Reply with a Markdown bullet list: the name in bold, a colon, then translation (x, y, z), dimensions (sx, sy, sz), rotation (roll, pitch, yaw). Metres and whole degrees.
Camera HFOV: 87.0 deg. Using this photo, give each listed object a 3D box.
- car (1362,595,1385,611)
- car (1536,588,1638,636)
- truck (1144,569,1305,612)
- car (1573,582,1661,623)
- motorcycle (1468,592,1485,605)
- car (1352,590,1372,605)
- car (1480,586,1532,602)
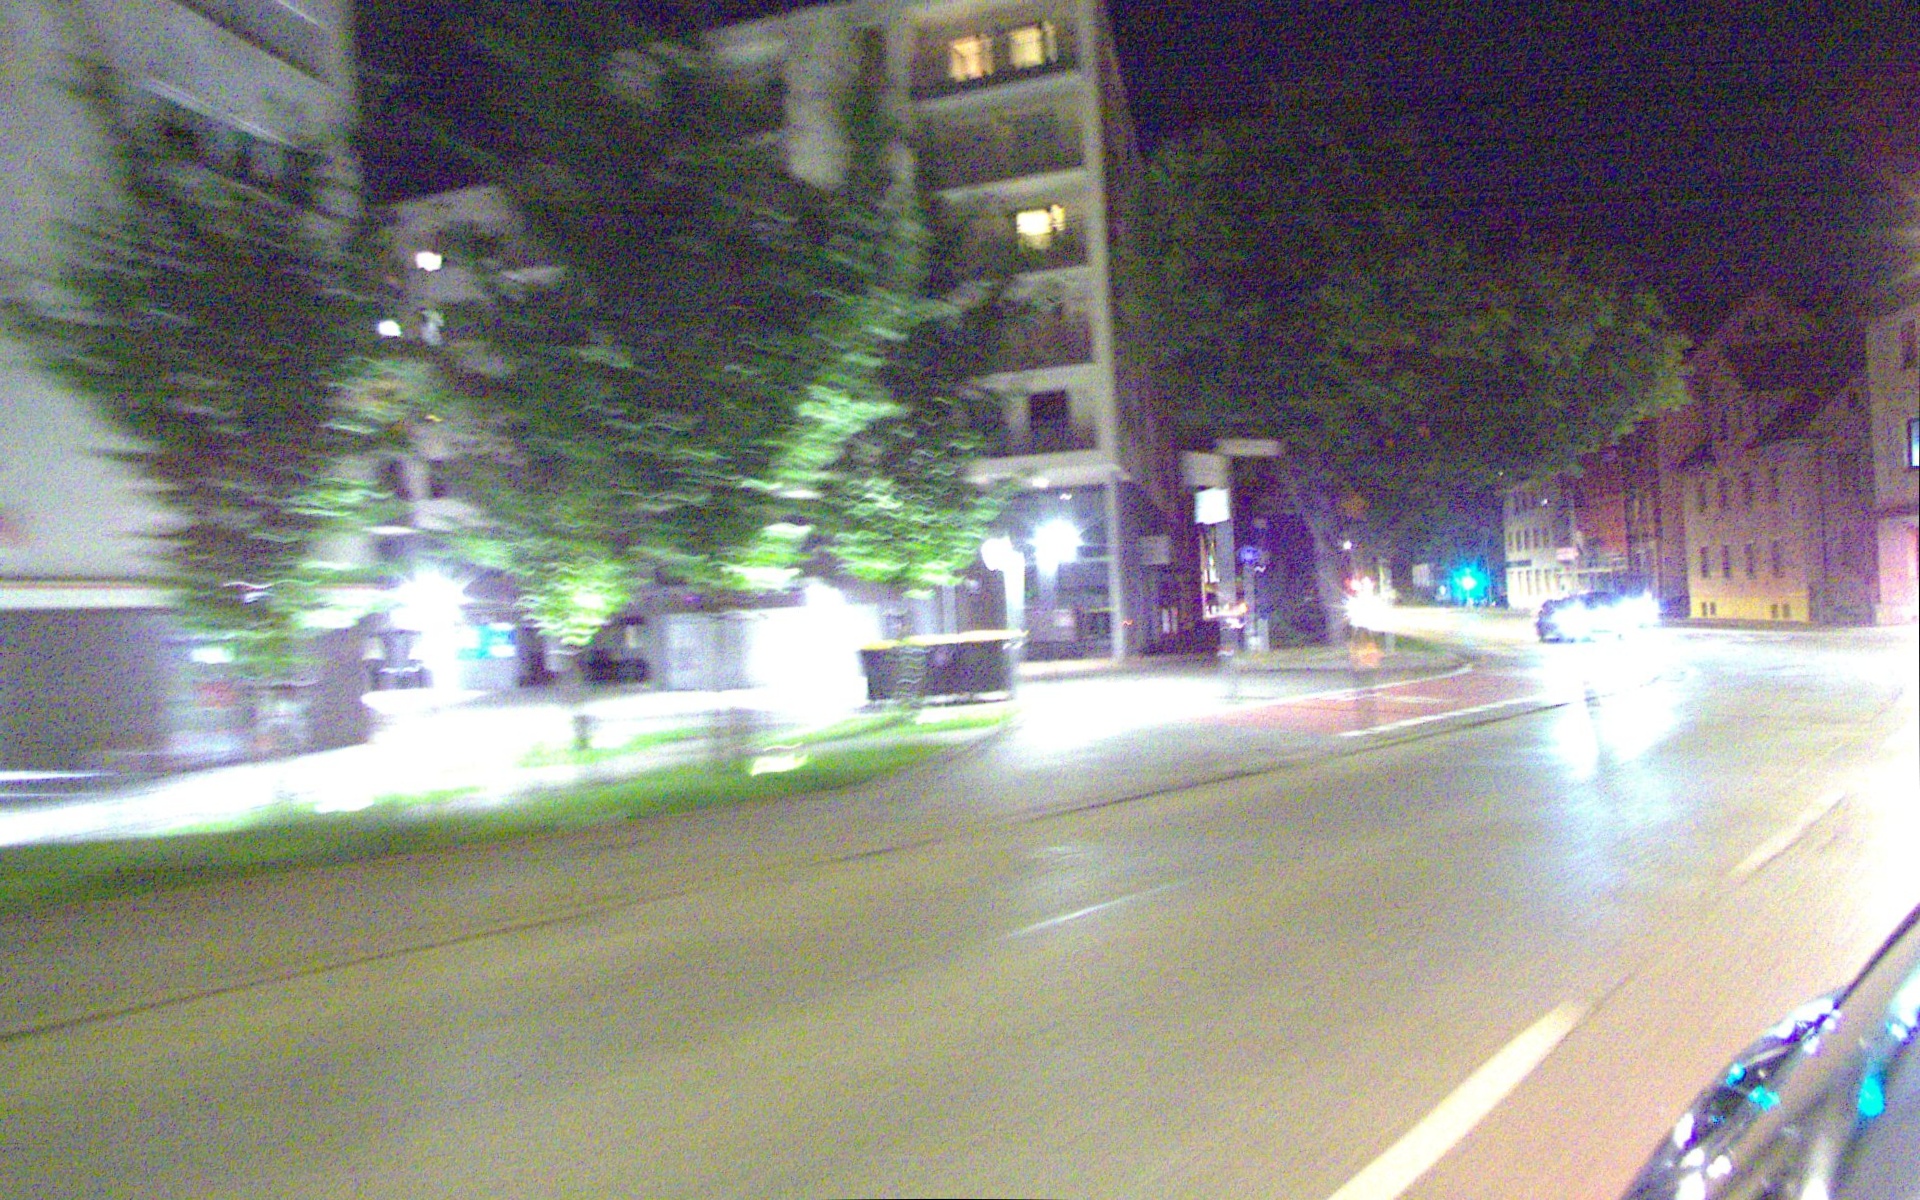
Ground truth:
- **car**: translation (36.543, 0.225, 89.429), dimensions (1.599, 1.282, 3.605), rotation (-4, -1, 19)
- **car**: translation (21.097, 0.371, 34.248), dimensions (1.706, 1.448, 4.475), rotation (-4, -1, 16)
- **truck**: translation (28.552, -1.020, 109.909), dimensions (16.598, 4.034, 3.116), rotation (-2, 0, 17)
- **car**: translation (25.837, 0.059, 39.952), dimensions (1.705, 1.481, 3.982), rotation (-2, 0, 15)
- **motorcycle**: translation (50.603, -0.116, 99.103), dimensions (0.562, 1.195, 2.032), rotation (-2, -1, -1)
- **car**: translation (49.276, -0.305, 124.178), dimensions (1.974, 1.656, 3.975), rotation (-2, -1, 19)
- **car**: translation (60.290, -0.660, 111.848), dimensions (4.607, 1.649, 1.995), rotation (-2, 0, 15)
